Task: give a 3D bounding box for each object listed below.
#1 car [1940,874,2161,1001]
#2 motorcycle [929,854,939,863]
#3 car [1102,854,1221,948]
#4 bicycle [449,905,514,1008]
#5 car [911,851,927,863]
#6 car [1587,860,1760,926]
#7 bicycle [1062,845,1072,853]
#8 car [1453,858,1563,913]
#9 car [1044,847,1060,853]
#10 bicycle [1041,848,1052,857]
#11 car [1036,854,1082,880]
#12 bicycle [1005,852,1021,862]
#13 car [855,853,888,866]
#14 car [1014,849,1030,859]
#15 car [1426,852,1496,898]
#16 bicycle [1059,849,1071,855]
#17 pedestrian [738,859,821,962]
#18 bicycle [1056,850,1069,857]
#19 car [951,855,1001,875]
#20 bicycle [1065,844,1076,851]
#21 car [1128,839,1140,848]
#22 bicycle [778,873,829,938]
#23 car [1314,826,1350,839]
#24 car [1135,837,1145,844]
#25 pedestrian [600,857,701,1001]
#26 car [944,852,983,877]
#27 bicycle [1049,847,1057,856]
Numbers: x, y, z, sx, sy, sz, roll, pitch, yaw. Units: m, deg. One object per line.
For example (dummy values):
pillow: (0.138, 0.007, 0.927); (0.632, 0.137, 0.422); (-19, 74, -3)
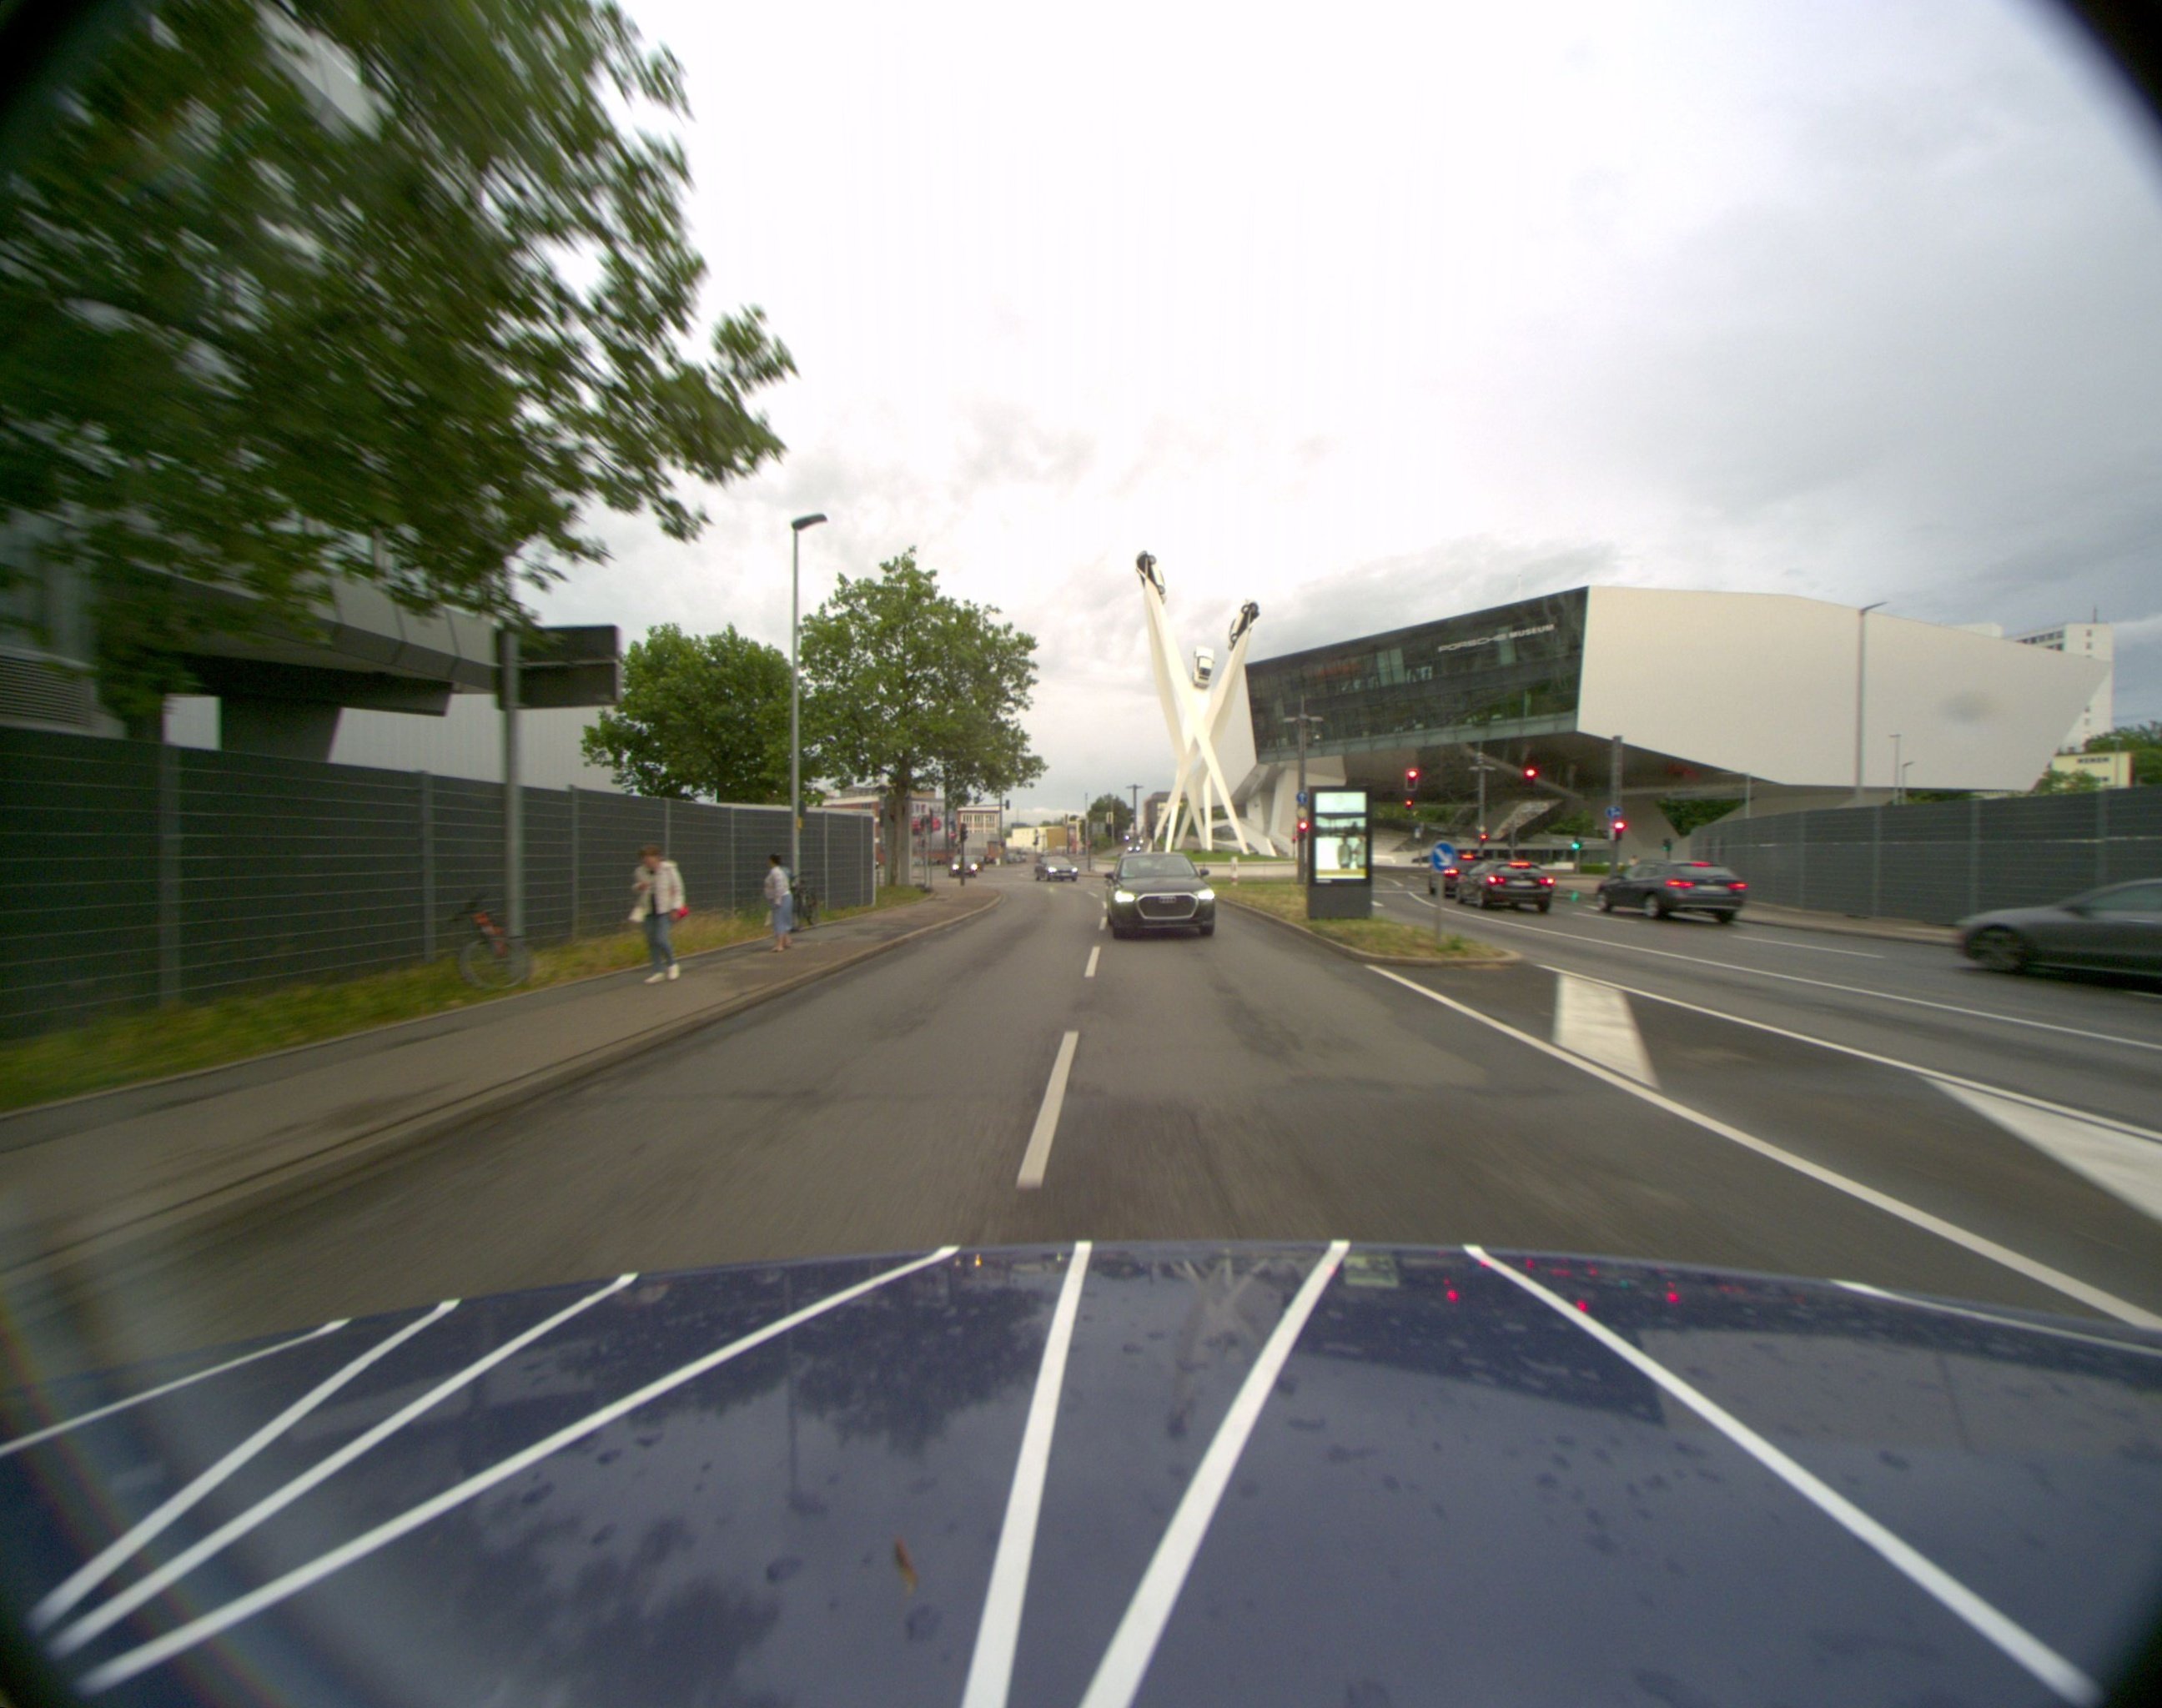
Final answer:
car: (13.339, 1.024, 8.795); (1.786, 1.377, 4.547); (2, 1, 4)
motorcycle: (-19.468, 0.538, 100.822); (0.496, 1.140, 1.718); (-5, 4, -38)
car: (1.417, 0.787, 15.001); (1.757, 1.509, 4.394); (-2, 0, -1)
bicycle: (-6.885, 1.126, 8.774); (0.514, 0.948, 1.697); (-1, 1, -36)
car: (-21.393, 0.358, 100.108); (1.626, 1.495, 3.241); (-2, 1, -19)
car: (15.625, 0.948, 20.394); (1.785, 1.446, 4.564); (1, 1, 11)
bicycle: (-2.087, -0.811, 114.776); (1.543, 1.149, 0.451); (1, 4, 1)
car: (12.657, 0.855, 22.811); (1.785, 1.432, 4.400); (0, 1, 14)
car: (-7.356, -1.048, 193.368); (4.000, 1.417, 1.719); (-2, 1, -8)
bicycle: (-4.658, -0.169, 101.468); (0.346, 1.078, 1.747); (2, 5, 40)
car: (-1.342, 0.723, 44.742); (1.819, 1.430, 4.296); (0, 0, -14)
bicycle: (-8.731, 0.360, 97.166); (2.077, 1.124, 0.420); (-5, 4, -37)
car: (-22.877, 0.604, 83.053); (1.724, 1.417, 3.988); (-3, 2, -44)
car: (-10.407, -0.036, 134.586); (1.782, 1.657, 4.507); (-1, 1, 9)
car: (14.484, 0.726, 29.159); (1.785, 1.579, 4.572); (0, 1, 19)
bicycle: (-2.268, -0.304, 107.511); (1.613, 0.917, 0.422); (0, 2, 18)
pedestrian: (-4.672, 0.846, 11.796); (0.832, 1.512, 0.843); (0, 1, 26)
bicycle: (-2.604, -0.111, 104.827); (1.742, 0.956, 0.422); (-1, 4, 14)
car: (-9.414, 0.953, 67.969); (4.072, 1.466, 1.746); (-3, 3, -21)
bicycle: (-1.578, -0.983, 113.171); (1.464, 1.068, 0.442); (-1, 5, -25)
car: (8.757, -1.662, 125.380); (1.817, 1.430, 4.301); (0, 1, 1)
bicycle: (-5.419, 0.974, 14.951); (0.342, 1.112, 1.972); (0, 1, -2)
car: (35.445, -3.019, 107.436); (2.004, 1.378, 4.229); (-2, 10, -40)
car: (12.597, -2.859, 161.742); (1.817, 1.430, 4.301); (0, 1, 1)
pedestrian: (-4.999, 0.837, 8.878); (0.711, 1.583, 0.840); (0, 1, -5)
car: (-8.291, 0.696, 53.380); (1.696, 1.499, 4.002); (-3, 3, -23)
bicycle: (-3.787, -0.332, 103.693); (0.400, 1.169, 2.016); (0, 3, 15)
